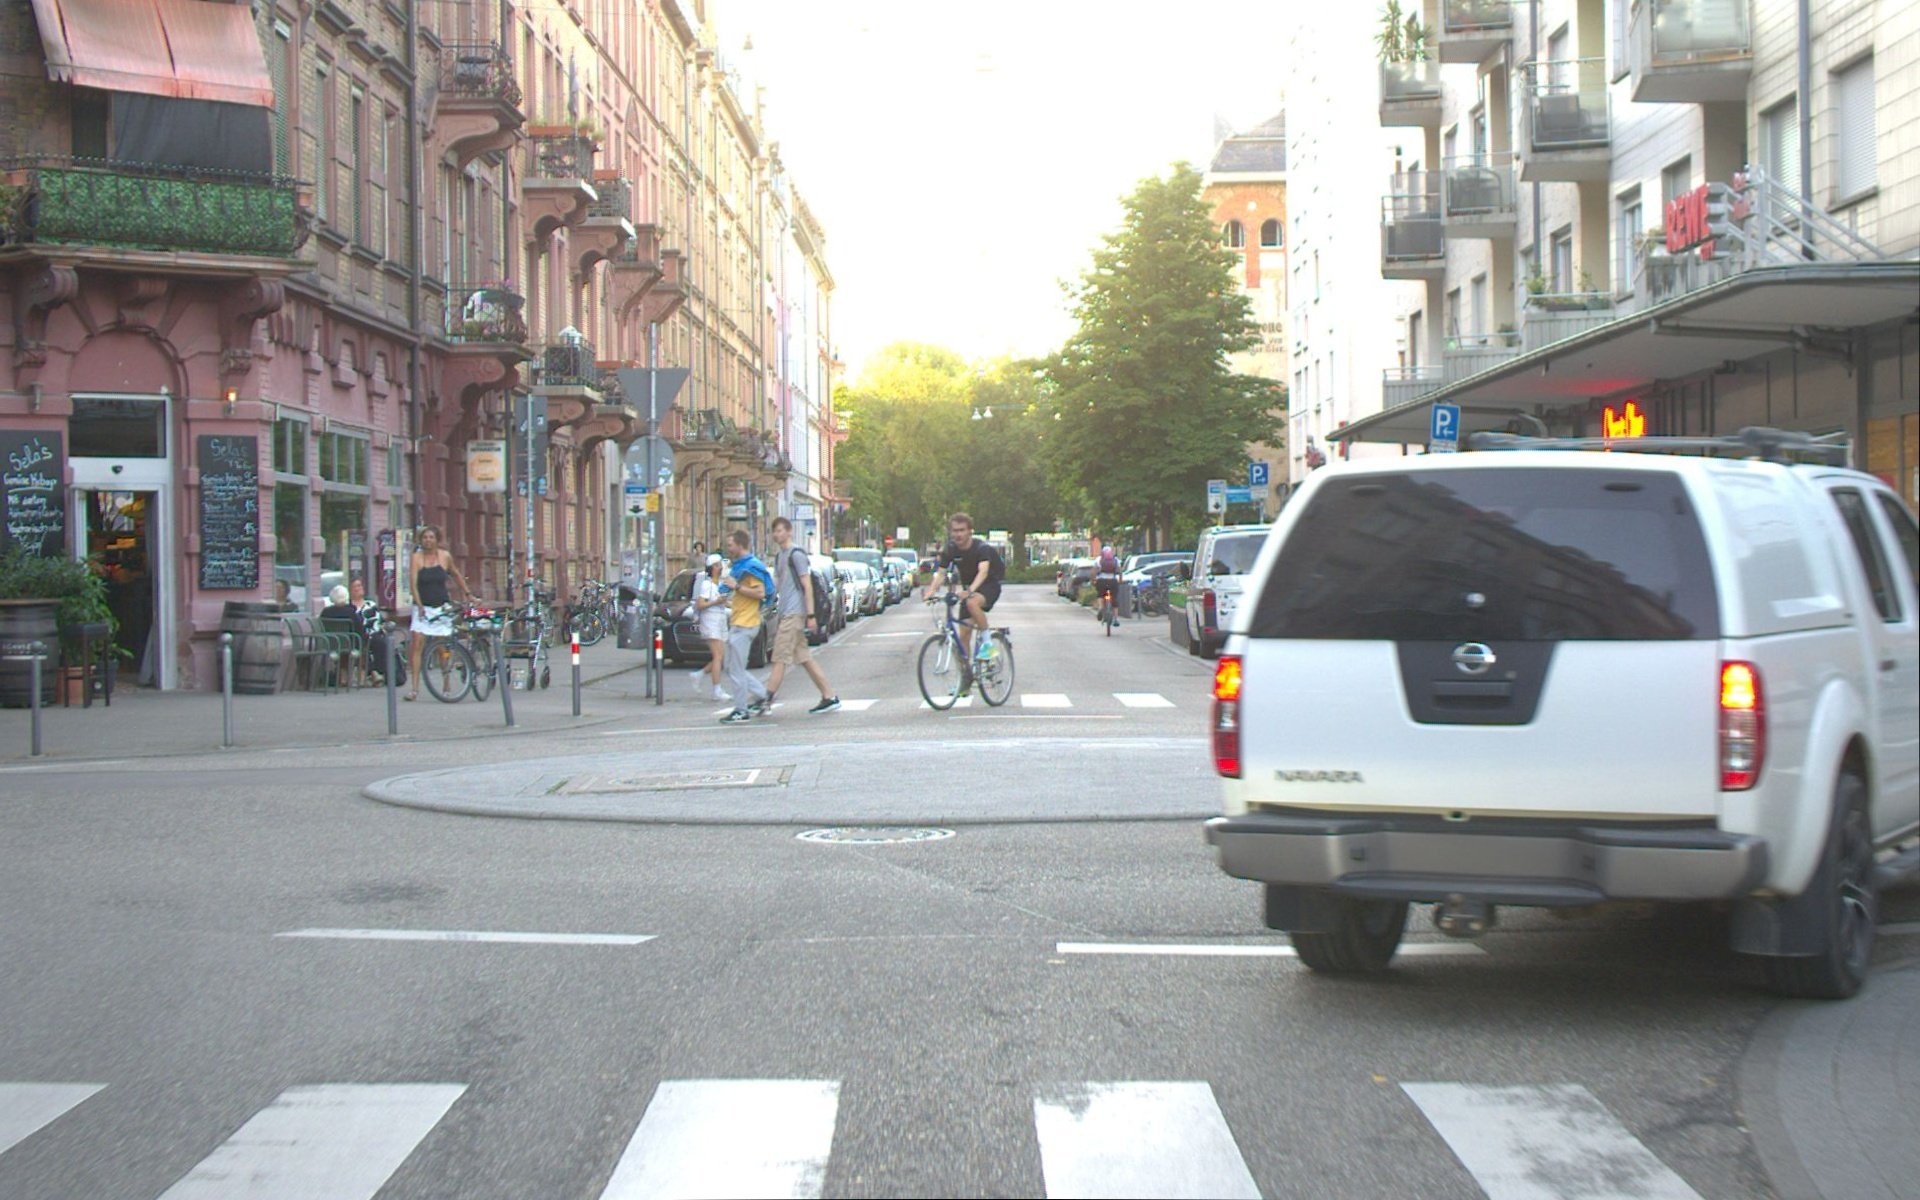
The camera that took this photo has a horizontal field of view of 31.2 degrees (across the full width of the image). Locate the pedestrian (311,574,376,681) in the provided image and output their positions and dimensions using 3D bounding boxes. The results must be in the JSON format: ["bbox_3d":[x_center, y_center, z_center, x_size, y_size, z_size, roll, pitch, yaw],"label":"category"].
[{"bbox_3d":[-6.914,0.307,38.569,0.648,1.187,0.540,1,0,-3],"label":"pedestrian"}]

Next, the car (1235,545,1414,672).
[{"bbox_3d":[4.635,0.091,44.222,1.834,1.536,4.000,1,0,0],"label":"car"}]

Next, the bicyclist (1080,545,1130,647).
[{"bbox_3d":[2.806,-0.079,66.619,0.838,1.937,0.784,1,0,11],"label":"bicyclist"}]

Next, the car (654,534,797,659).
[{"bbox_3d":[-3.407,-0.061,50.631,1.834,1.744,4.000,1,0,0],"label":"car"}]

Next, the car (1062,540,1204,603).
[{"bbox_3d":[4.984,-0.823,99.325,3.987,1.744,1.841,1,0,0],"label":"car"}]

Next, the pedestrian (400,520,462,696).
[{"bbox_3d":[-5.559,0.082,36.111,0.503,1.834,0.573,1,0,-22],"label":"pedestrian"}]

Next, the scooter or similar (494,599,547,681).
[{"bbox_3d":[-5.093,0.459,39.844,0.233,0.926,1.266,1,0,-24],"label":"scooter or similar"}]

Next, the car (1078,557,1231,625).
[{"bbox_3d":[5.196,-0.250,92.144,3.987,1.744,1.841,1,0,0],"label":"car"}]

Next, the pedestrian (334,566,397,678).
[{"bbox_3d":[-6.875,0.255,39.755,0.648,1.281,0.540,1,0,-3],"label":"pedestrian"}]

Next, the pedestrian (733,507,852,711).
[{"bbox_3d":[-1.564,0.082,32.112,0.903,1.878,0.616,1,0,-30],"label":"pedestrian"}]

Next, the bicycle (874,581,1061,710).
[{"bbox_3d":[0.083,0.420,32.441,0.839,1.167,1.932,1,0,33],"label":"bicycle"}]

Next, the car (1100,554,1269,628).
[{"bbox_3d":[5.490,-0.212,84.329,3.987,1.744,1.841,1,0,0],"label":"car"}]

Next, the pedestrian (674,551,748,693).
[{"bbox_3d":[-2.867,0.250,39.686,0.798,1.615,0.944,1,0,-2],"label":"pedestrian"}]

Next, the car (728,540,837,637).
[{"bbox_3d":[-3.314,-0.224,64.686,1.834,1.744,4.163,1,0,0],"label":"car"}]

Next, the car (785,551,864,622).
[{"bbox_3d":[-3.397,-0.339,86.710,1.834,1.744,4.000,1,0,0],"label":"car"}]

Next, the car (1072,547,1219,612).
[{"bbox_3d":[5.179,-0.566,96.483,3.987,1.744,1.841,1,0,0],"label":"car"}]

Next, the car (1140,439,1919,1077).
[{"bbox_3d":[2.516,0.358,12.376,1.941,1.804,4.994,1,2,26],"label":"car"}]

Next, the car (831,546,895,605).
[{"bbox_3d":[-2.911,-0.732,103.788,1.834,1.744,4.000,1,0,0],"label":"car"}]

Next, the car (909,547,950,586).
[{"bbox_3d":[-1.409,-1.555,160.235,1.834,1.744,4.000,1,0,0],"label":"car"}]

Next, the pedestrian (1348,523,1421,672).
[{"bbox_3d":[4.796,-0.028,38.890,0.720,1.657,0.702,1,0,1],"label":"pedestrian"}]

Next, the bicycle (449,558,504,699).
[{"bbox_3d":[-5.092,0.286,36.252,0.424,1.437,1.905,1,0,-4],"label":"bicycle"}]

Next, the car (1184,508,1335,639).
[{"bbox_3d":[4.573,-0.403,53.002,1.942,1.927,4.000,1,0,0],"label":"car"}]

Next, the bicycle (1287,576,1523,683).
[{"bbox_3d":[4.908,0.321,37.979,2.461,1.035,0.617,-3,0,-4],"label":"bicycle"}]

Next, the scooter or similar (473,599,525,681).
[{"bbox_3d":[-5.331,0.456,39.733,0.233,0.926,1.266,1,0,-24],"label":"scooter or similar"}]

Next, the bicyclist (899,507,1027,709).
[{"bbox_3d":[0.031,0.069,32.329,0.839,1.870,0.877,1,0,33],"label":"bicyclist"}]

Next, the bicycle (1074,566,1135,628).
[{"bbox_3d":[2.808,-0.058,66.635,0.838,1.167,1.935,1,0,12],"label":"bicycle"}]

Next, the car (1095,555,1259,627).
[{"bbox_3d":[5.449,-0.223,86.568,3.987,1.744,1.841,1,0,0],"label":"car"}]

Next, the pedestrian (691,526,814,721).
[{"bbox_3d":[-1.869,0.212,30.957,0.903,1.730,0.616,1,0,-30],"label":"pedestrian"}]
